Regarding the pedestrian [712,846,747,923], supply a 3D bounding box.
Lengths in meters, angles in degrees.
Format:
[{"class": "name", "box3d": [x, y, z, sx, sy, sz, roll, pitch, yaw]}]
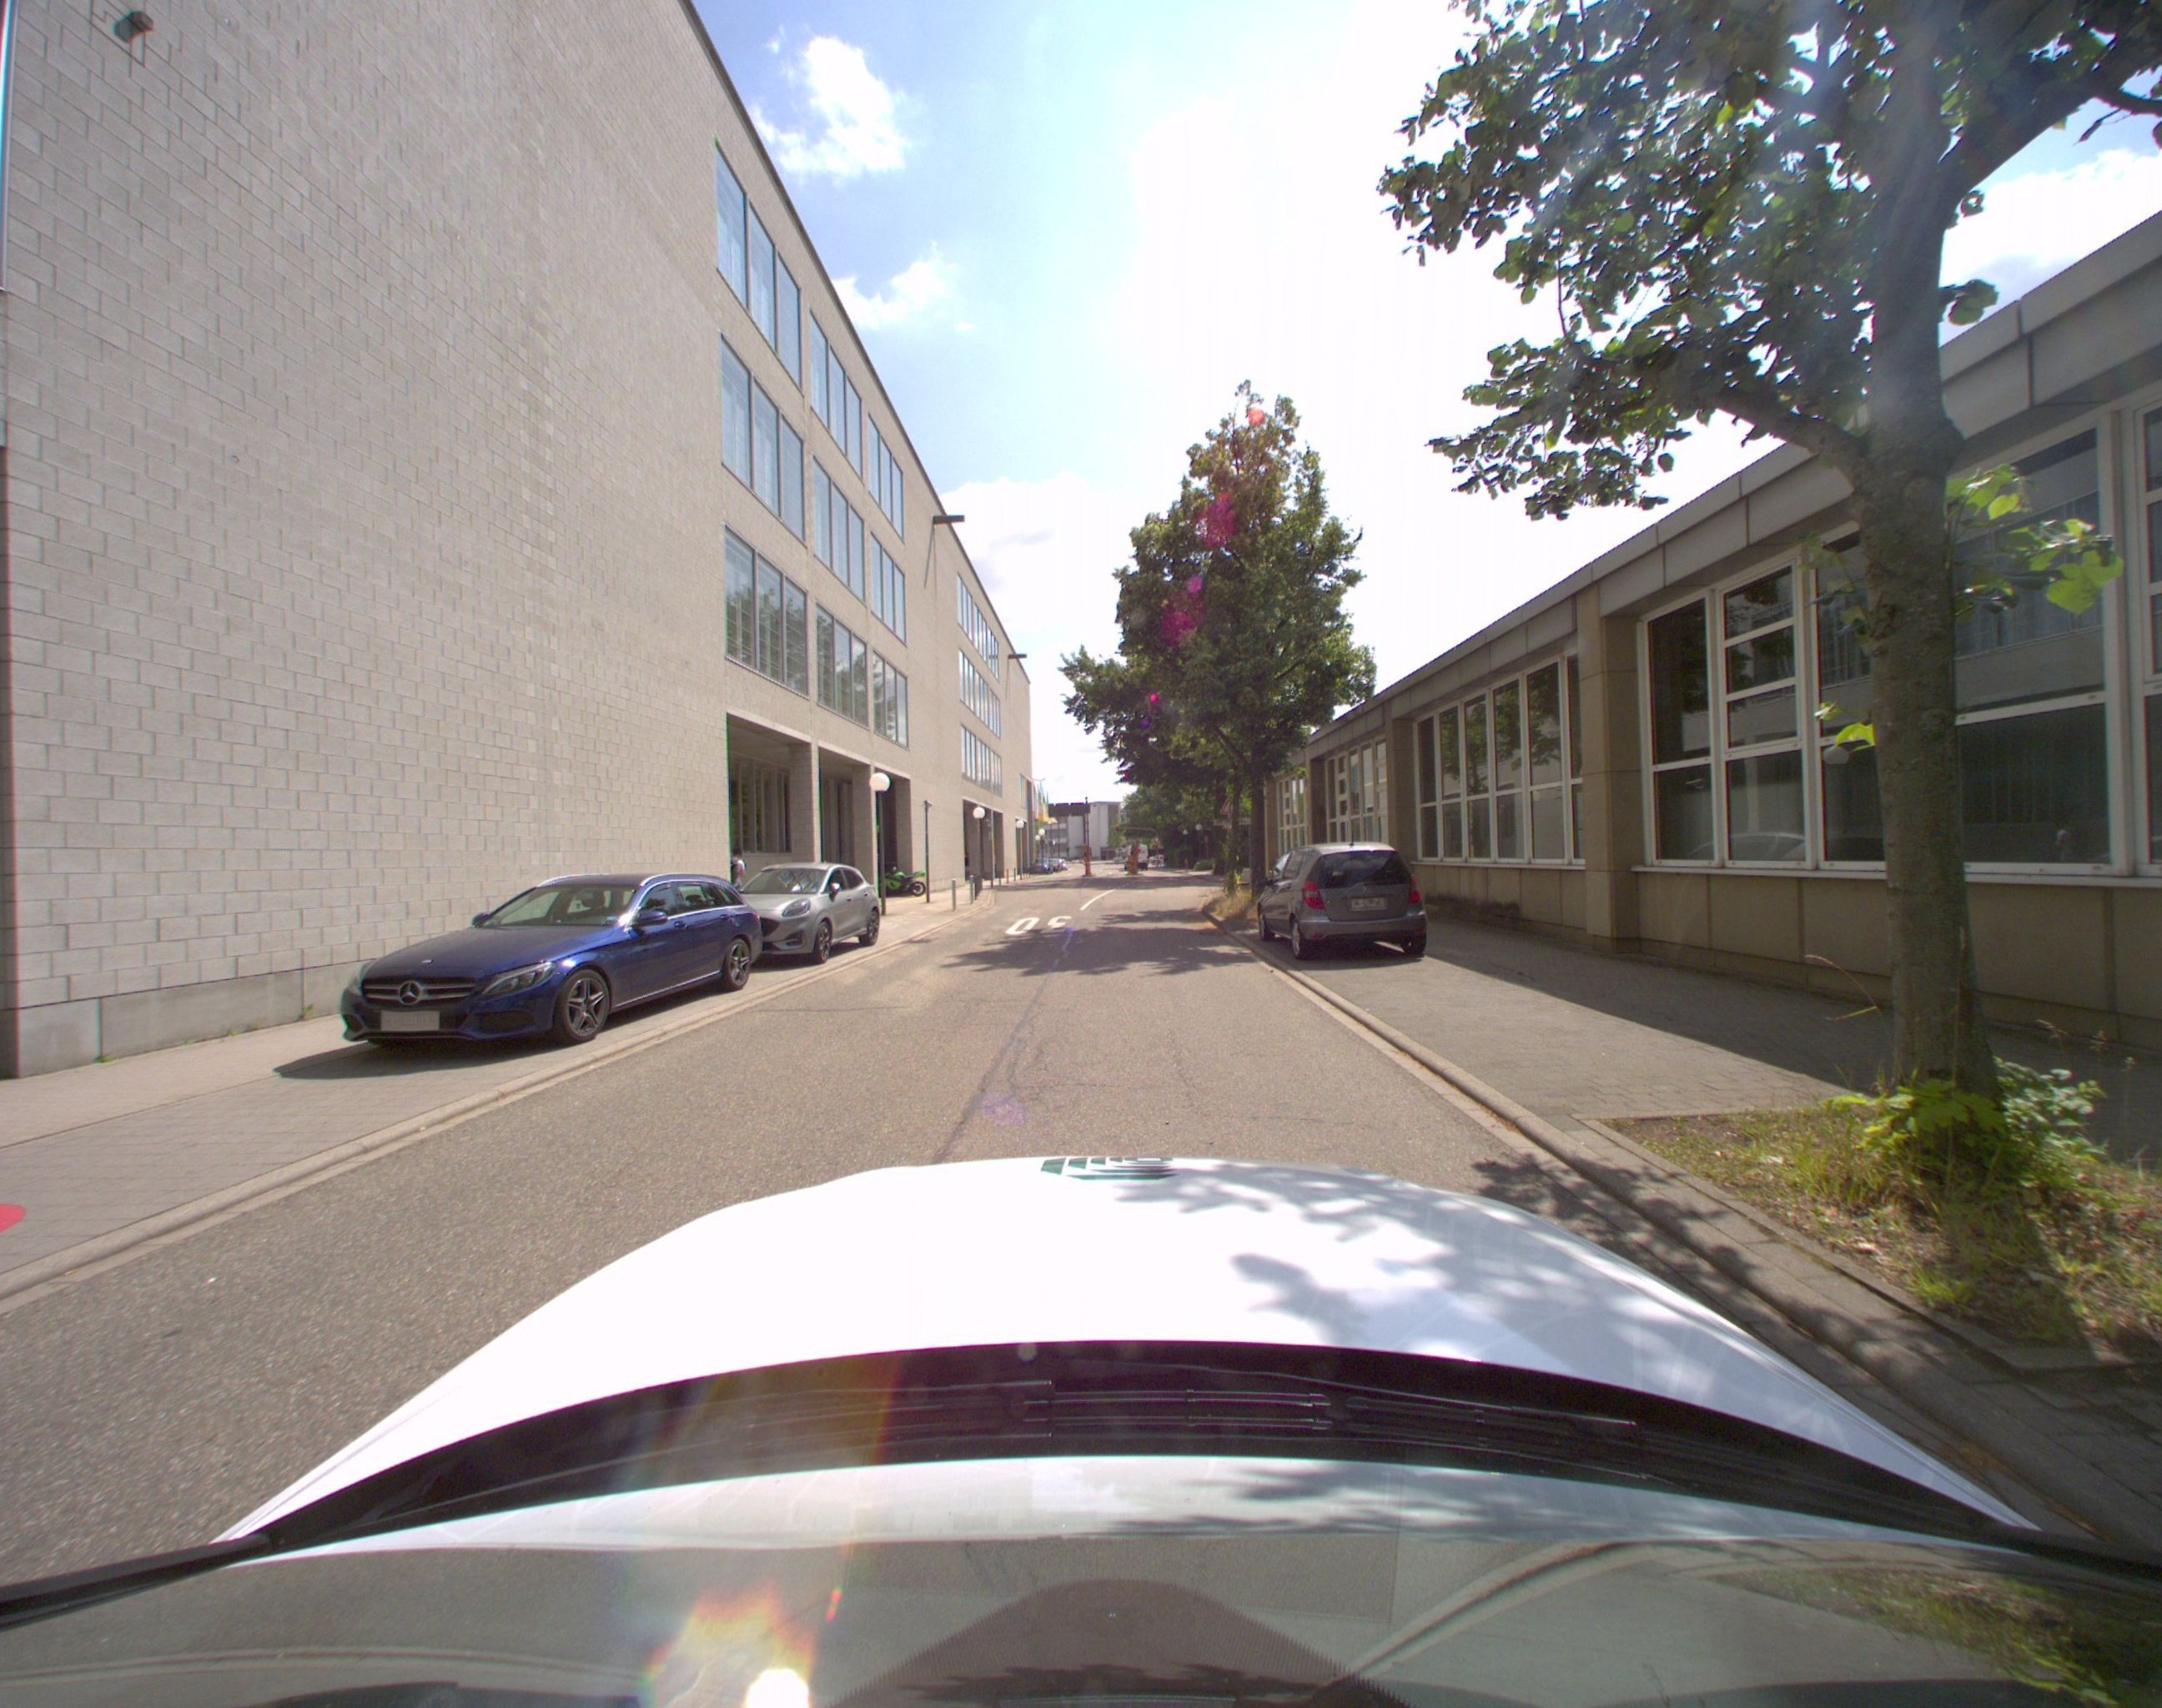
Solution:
[{"class": "pedestrian", "box3d": [-8.581, 0.740, 19.889, 0.509, 1.841, 0.735, -2, -2, 2]}]

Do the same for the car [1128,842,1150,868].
[{"class": "car", "box3d": [5.734, 0.065, 81.311, 2.075, 2.539, 4.318, 0, 0, 2]}]

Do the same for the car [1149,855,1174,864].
[{"class": "car", "box3d": [12.355, 0.790, 124.685, 3.712, 1.330, 1.669, -1, 0, 5]}]

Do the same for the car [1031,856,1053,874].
[{"class": "car", "box3d": [-3.510, 0.972, 73.573, 1.639, 1.498, 3.730, -2, -2, 2]}]

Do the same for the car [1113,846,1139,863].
[{"class": "car", "box3d": [7.765, 0.115, 140.554, 4.362, 2.739, 1.998, -1, 0, -3]}]

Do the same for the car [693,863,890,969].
[{"class": "car", "box3d": [-4.641, 0.914, 13.754, 1.624, 1.485, 4.181, -1, -1, 3]}]

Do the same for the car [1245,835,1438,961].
[{"class": "car", "box3d": [3.828, 0.587, 12.719, 1.851, 1.574, 4.003, -3, 0, 3]}]

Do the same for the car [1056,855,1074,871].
[{"class": "car", "box3d": [-1.621, 0.973, 85.589, 1.639, 1.498, 3.730, -2, -2, 2]}]

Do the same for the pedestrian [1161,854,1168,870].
[{"class": "pedestrian", "box3d": [9.178, 0.843, 89.809, 0.657, 1.729, 0.635, -1, 0, 1]}]

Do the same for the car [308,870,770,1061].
[{"class": "car", "box3d": [-5.081, 0.923, 8.510, 1.758, 1.427, 4.239, -1, -1, 4]}]

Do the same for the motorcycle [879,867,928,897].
[{"class": "motorcycle", "box3d": [-7.074, 1.105, 32.482, 1.857, 1.105, 0.656, -1, 0, -18]}]
